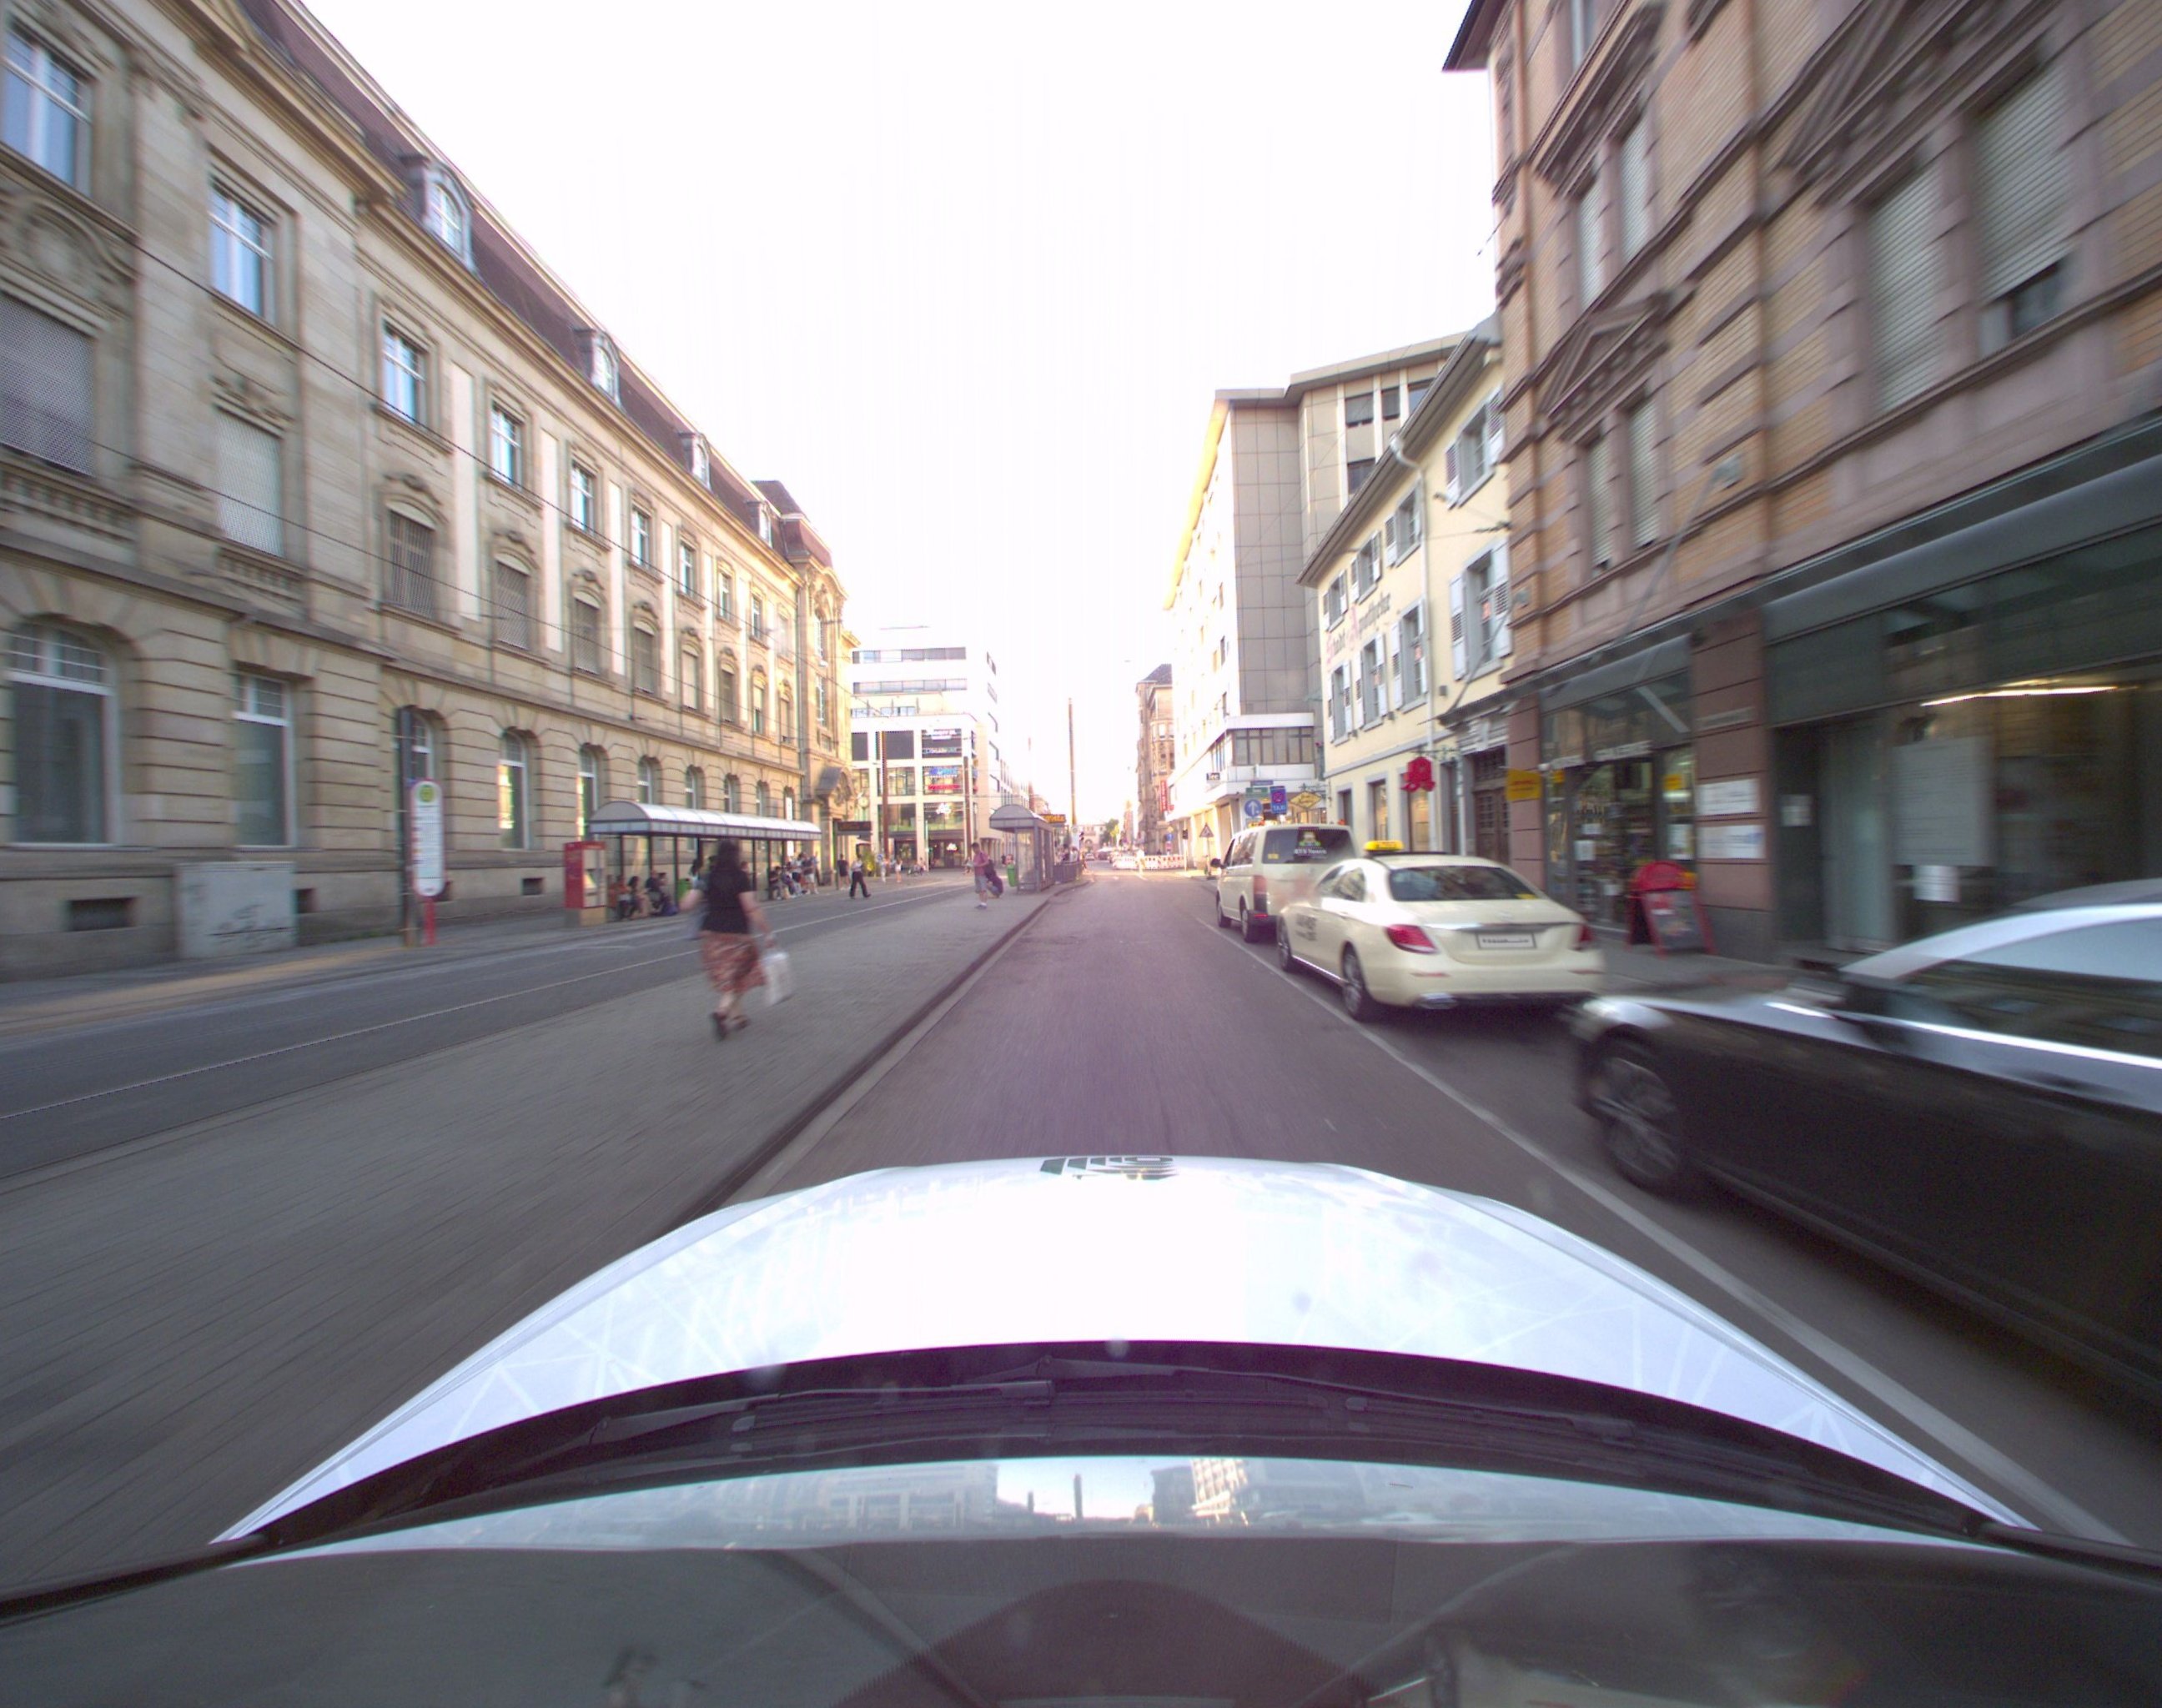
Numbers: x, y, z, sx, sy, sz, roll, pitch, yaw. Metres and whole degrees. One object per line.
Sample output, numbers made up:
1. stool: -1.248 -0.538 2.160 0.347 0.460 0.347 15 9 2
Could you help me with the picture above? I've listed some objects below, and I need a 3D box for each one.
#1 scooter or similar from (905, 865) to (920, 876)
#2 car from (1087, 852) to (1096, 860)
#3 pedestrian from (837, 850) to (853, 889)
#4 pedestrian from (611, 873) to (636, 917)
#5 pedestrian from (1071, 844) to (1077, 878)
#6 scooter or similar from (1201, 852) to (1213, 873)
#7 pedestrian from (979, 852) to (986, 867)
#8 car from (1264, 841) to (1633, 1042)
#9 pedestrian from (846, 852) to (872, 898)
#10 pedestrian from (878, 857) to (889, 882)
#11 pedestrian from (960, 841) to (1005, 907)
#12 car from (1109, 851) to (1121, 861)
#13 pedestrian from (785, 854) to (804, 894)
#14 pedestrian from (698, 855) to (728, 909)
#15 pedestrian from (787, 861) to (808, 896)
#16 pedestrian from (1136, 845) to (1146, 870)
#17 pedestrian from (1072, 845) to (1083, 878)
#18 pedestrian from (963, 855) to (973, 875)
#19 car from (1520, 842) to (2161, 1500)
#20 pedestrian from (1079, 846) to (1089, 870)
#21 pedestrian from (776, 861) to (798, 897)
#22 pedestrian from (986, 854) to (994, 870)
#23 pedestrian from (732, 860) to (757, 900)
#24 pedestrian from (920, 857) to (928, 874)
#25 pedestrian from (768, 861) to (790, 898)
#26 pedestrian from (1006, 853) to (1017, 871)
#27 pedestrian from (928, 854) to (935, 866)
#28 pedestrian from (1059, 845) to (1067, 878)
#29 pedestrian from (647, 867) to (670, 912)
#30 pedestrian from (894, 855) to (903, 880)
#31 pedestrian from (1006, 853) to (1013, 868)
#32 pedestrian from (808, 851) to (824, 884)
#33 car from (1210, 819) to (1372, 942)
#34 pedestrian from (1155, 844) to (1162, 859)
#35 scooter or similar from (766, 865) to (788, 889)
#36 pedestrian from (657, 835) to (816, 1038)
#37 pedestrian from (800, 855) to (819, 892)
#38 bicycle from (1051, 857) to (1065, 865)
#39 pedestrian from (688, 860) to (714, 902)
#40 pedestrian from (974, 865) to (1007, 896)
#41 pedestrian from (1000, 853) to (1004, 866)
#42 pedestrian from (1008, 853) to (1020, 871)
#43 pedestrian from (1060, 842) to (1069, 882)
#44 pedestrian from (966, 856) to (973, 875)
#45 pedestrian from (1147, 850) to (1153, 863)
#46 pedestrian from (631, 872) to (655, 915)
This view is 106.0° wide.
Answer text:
1. scooter or similar: -14.606 1.428 70.669 1.089 0.904 0.891 -2 0 2
2. car: 2.415 0.423 184.390 1.987 1.904 4.000 -1 0 1
3. pedestrian: -10.996 0.704 37.966 0.558 1.776 0.468 -1 0 -3
4. pedestrian: -11.597 1.028 20.663 0.362 1.102 0.430 -1 -1 7
5. pedestrian: -0.374 0.382 43.015 0.341 1.796 0.544 -1 -1 -1
6. scooter or similar: 7.487 0.518 48.467 0.503 1.234 1.180 -2 0 1
7. pedestrian: -11.949 0.685 98.781 0.569 1.855 0.819 -1 -1 13
8. car: 3.340 0.646 8.611 1.799 1.483 4.779 -2 0 1
9. pedestrian: -8.386 0.781 30.746 0.669 1.691 0.641 -2 -1 17
10. pedestrian: -12.457 0.966 51.328 0.496 1.525 0.521 -1 0 11
11. pedestrian: -2.489 0.488 20.663 0.679 1.638 0.866 -1 0 42
12. car: 5.487 0.347 130.809 1.673 1.613 4.028 -3 0 1
13. pedestrian: -11.990 0.821 34.124 0.515 1.646 0.639 -2 -1 5
14. pedestrian: -11.374 0.856 25.170 0.513 1.650 0.641 -2 -1 23
15. pedestrian: -11.076 0.957 31.816 0.515 1.327 0.639 -2 -1 5
16. pedestrian: 4.330 0.268 58.760 0.697 1.815 0.852 -1 0 0
17. pedestrian: -0.189 0.389 43.795 0.536 1.767 0.595 -1 -1 6
18. pedestrian: -9.807 0.934 70.510 0.742 1.700 0.609 -2 0 -3
19. car: 3.284 0.706 2.149 1.720 1.477 4.821 0 0 1
20. pedestrian: 0.225 0.290 58.674 0.698 1.693 0.540 0 -1 -6
21. pedestrian: -11.171 0.953 30.946 0.515 1.327 0.639 -2 -1 5
22. pedestrian: -9.656 0.868 86.702 0.644 1.674 0.531 -2 0 9
23. pedestrian: -11.395 0.871 27.570 0.515 1.327 0.639 -2 -1 5
24. pedestrian: -13.746 1.000 71.265 0.636 1.420 0.419 -1 0 3
25. pedestrian: -11.189 0.948 30.178 0.515 1.327 0.639 -2 -1 5
26. pedestrian: -6.330 0.763 74.522 0.773 1.614 0.662 -2 0 -24
27. pedestrian: -18.661 0.785 101.459 0.569 1.526 0.793 -1 -1 13
28. pedestrian: -0.902 0.370 40.200 0.384 1.642 0.549 -1 -1 -1
29. pedestrian: -11.449 0.966 22.093 0.362 1.200 0.430 -1 -1 7
30. pedestrian: -11.248 0.823 50.220 0.526 1.525 0.500 -1 0 -13
31. pedestrian: -8.677 0.763 98.553 0.780 1.751 0.600 -1 -1 -2
32. pedestrian: -14.113 0.712 43.378 0.619 1.776 0.705 -1 0 -2
33. car: 3.675 0.426 15.144 1.870 1.923 4.700 0 0 1
34. pedestrian: 8.884 -0.239 93.020 0.623 1.690 0.671 -2 -1 -1
35. scooter or similar: -14.896 1.119 39.925 0.484 1.182 1.294 -1 -1 3
36. pedestrian: -2.726 0.616 6.547 0.843 1.501 0.901 -1 0 1
37. pedestrian: -11.624 0.839 34.886 0.515 1.569 0.639 -2 -1 5
38. bicycle: -3.329 1.027 117.713 1.978 1.122 0.553 0 -1 -28
39. pedestrian: -14.585 1.027 31.266 0.697 1.614 0.630 -1 0 0
40. pedestrian: -2.853 0.826 25.719 0.791 0.939 0.697 -1 0 24
41. pedestrian: -9.516 0.691 98.404 0.388 1.515 0.505 -2 0 0
42. pedestrian: -6.086 0.748 73.661 0.825 1.614 0.688 -2 0 -24
43. pedestrian: -0.752 0.362 37.187 0.411 1.767 0.594 -1 -1 -1
44. pedestrian: -9.720 1.014 71.078 0.568 1.593 0.447 -2 -1 -6
45. pedestrian: 8.779 0.329 103.468 0.709 1.611 0.821 -1 -1 -2
46. pedestrian: -11.426 1.030 21.247 0.362 1.102 0.430 -1 -1 7
